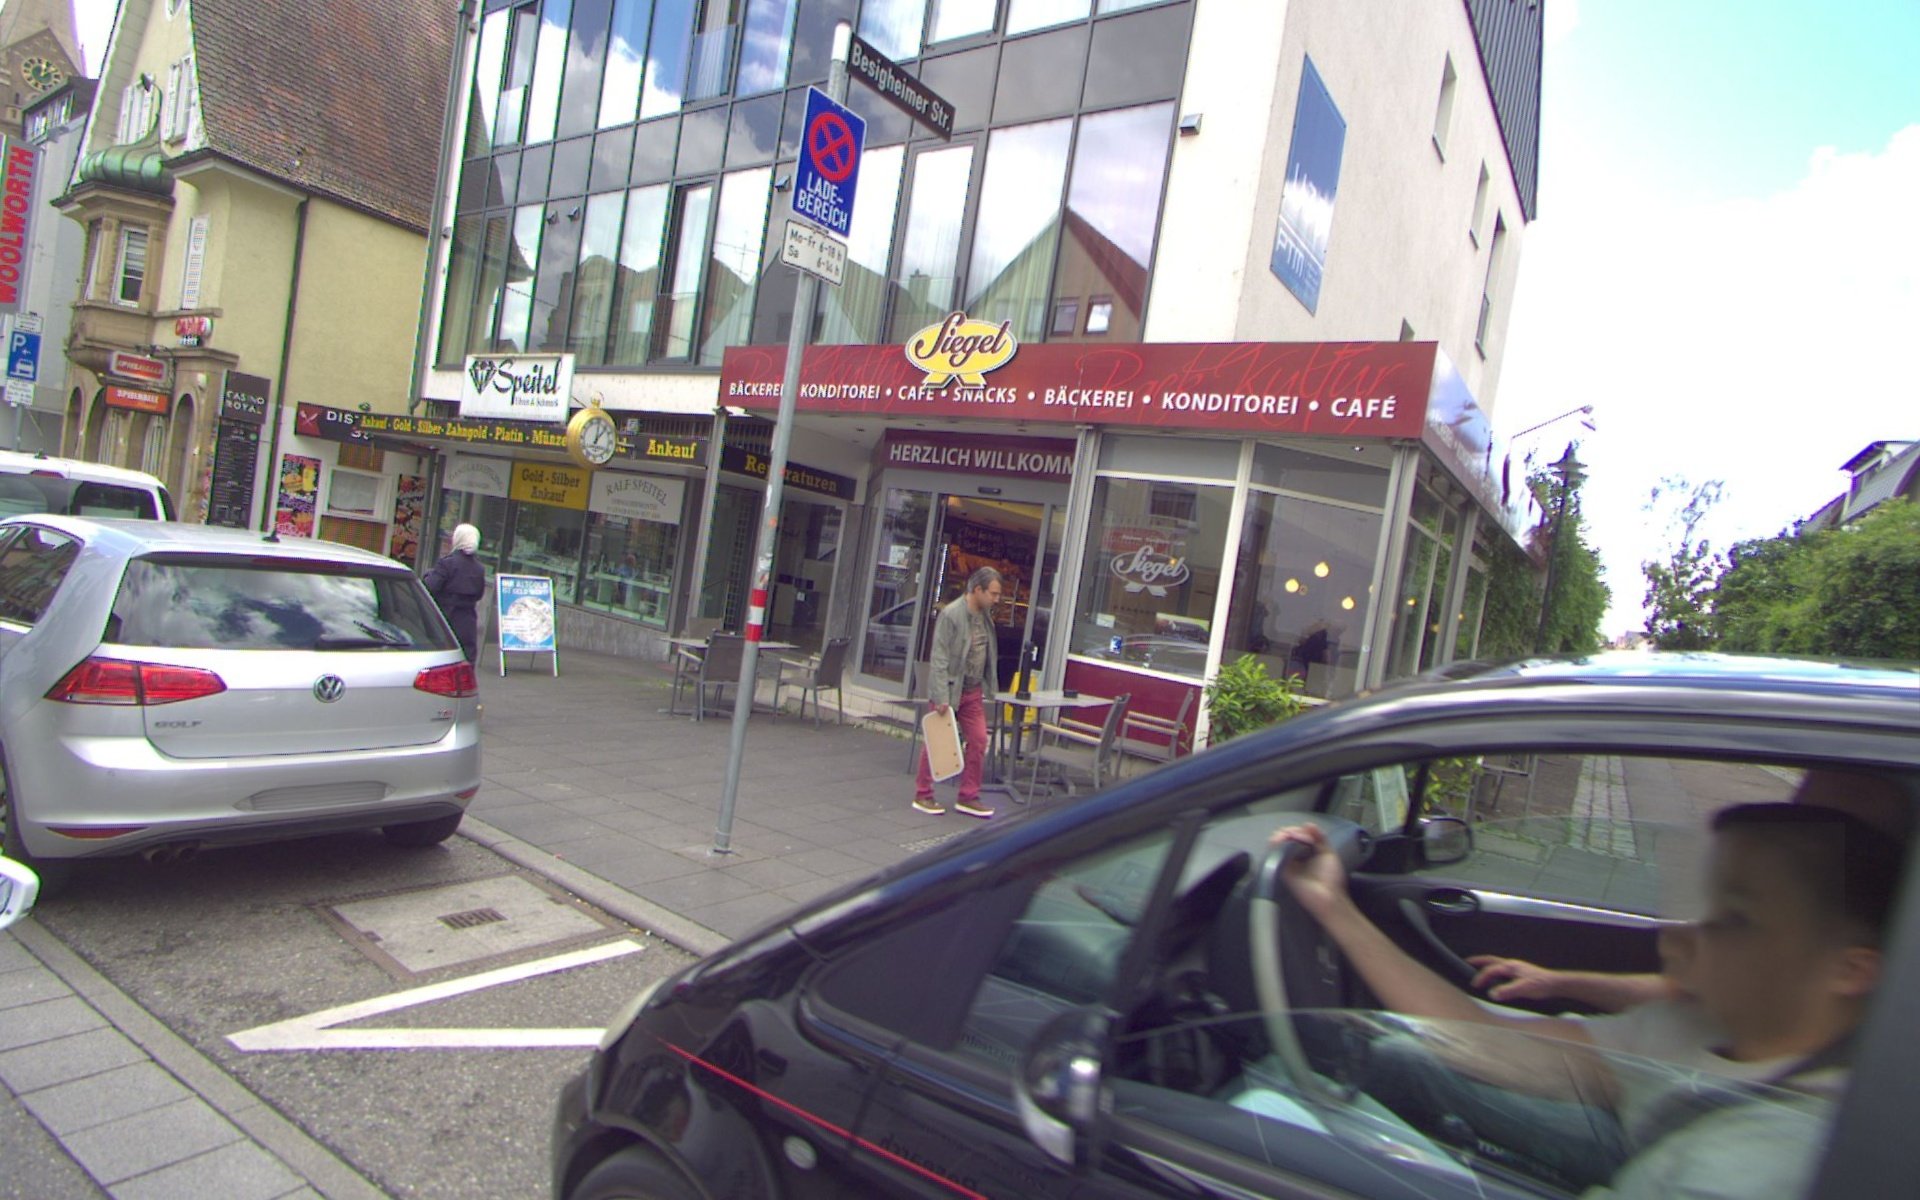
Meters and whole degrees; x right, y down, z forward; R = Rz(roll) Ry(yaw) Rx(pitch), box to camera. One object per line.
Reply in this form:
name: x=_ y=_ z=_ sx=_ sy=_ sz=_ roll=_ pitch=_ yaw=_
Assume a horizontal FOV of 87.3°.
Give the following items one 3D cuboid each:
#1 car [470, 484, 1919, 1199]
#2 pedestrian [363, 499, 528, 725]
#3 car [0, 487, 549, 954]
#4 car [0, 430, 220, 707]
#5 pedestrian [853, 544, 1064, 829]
car: x=1.197 y=0.789 z=1.437 sx=3.894 sy=1.575 sz=1.802 roll=6 pitch=0 yaw=37
pedestrian: x=-4.119 y=0.099 z=8.058 sx=0.791 sy=1.686 sz=0.822 roll=6 pitch=1 yaw=43
car: x=-4.045 y=0.284 z=5.042 sx=3.936 sy=1.486 sz=1.703 roll=6 pitch=0 yaw=34
car: x=-7.999 y=-0.370 z=8.335 sx=4.665 sy=1.821 sz=1.875 roll=6 pitch=-1 yaw=40
pedestrian: x=-0.011 y=0.552 z=6.819 sx=0.932 sy=1.728 sz=0.862 roll=6 pitch=0 yaw=43
